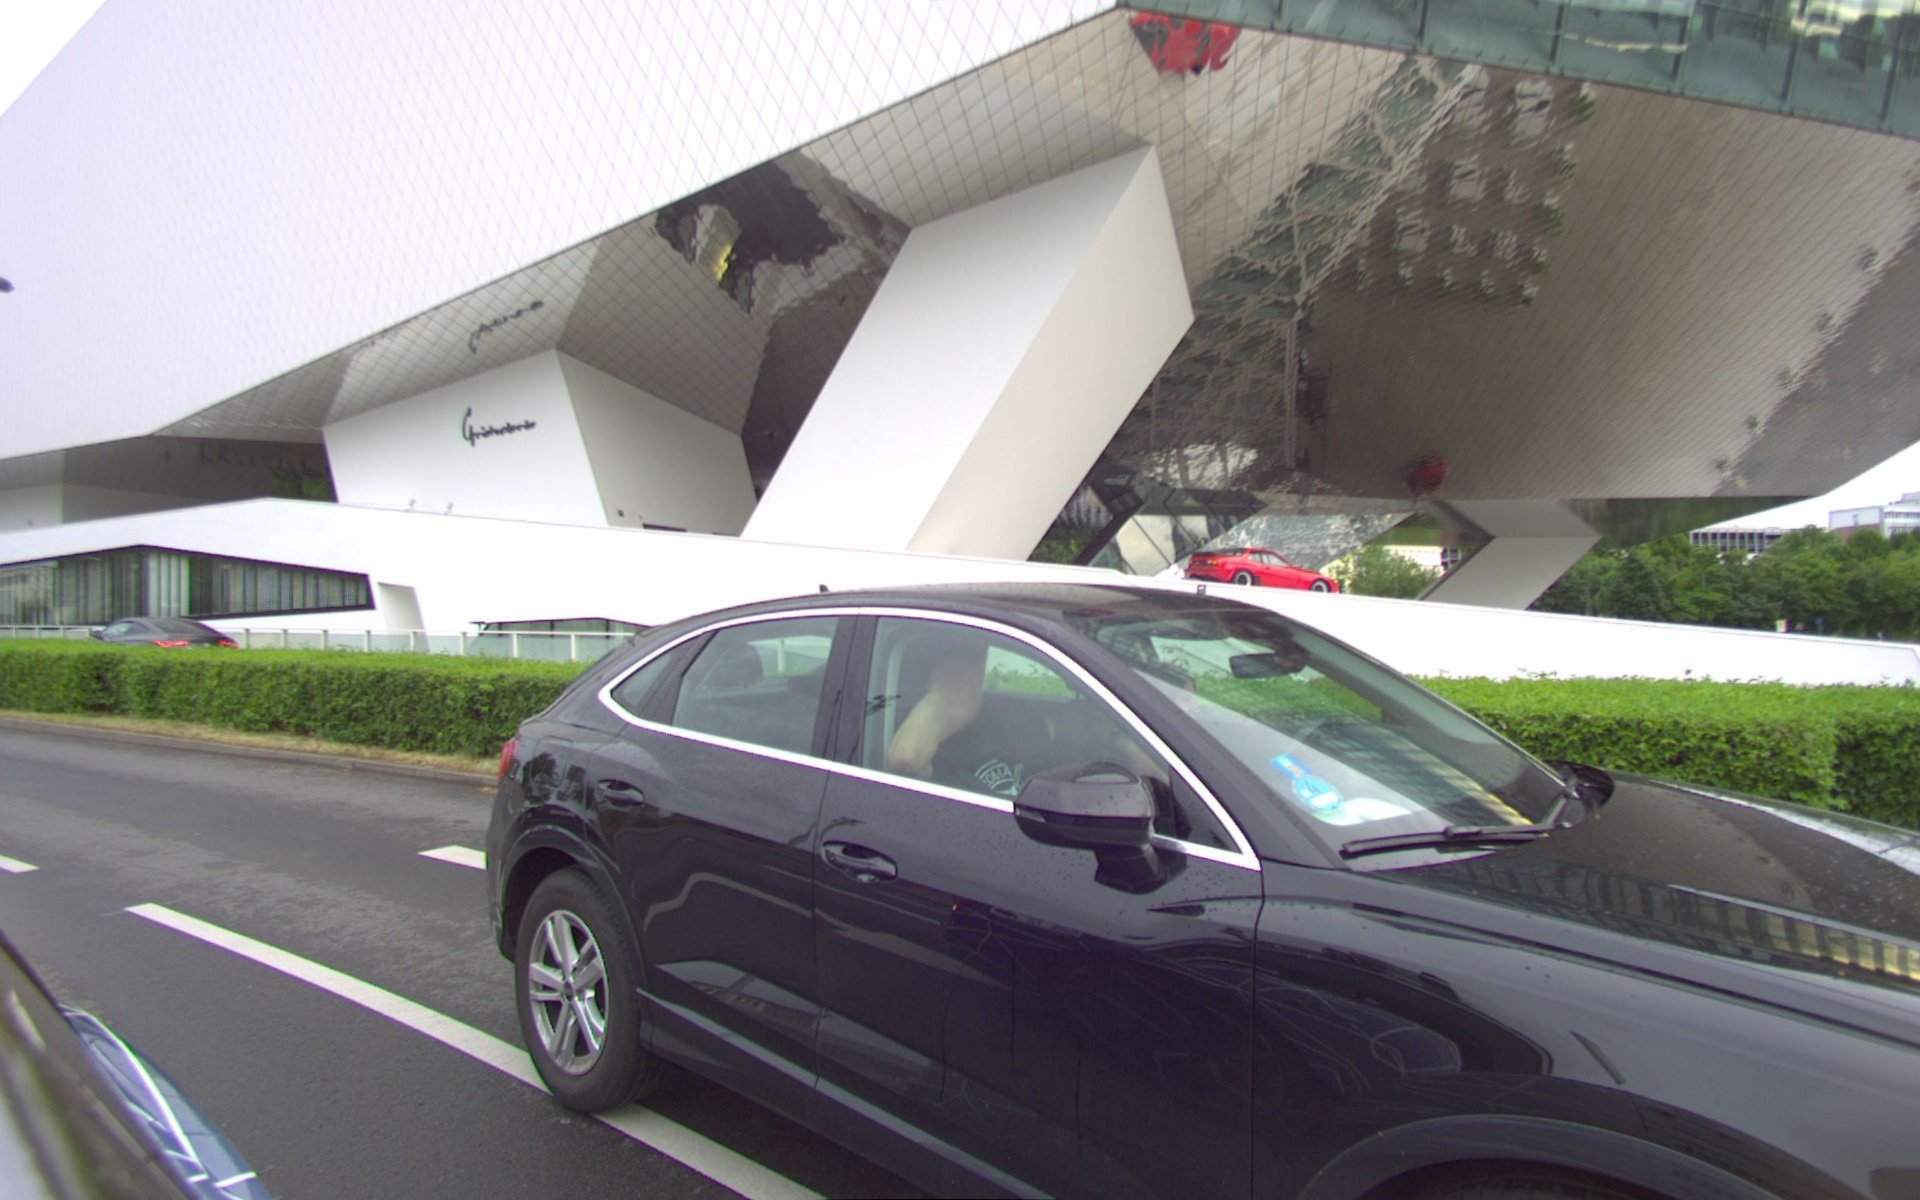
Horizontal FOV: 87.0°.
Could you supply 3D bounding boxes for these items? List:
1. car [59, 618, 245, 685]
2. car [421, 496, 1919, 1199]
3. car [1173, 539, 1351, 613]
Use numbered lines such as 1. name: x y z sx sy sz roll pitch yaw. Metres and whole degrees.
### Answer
1. car: -18.015 1.094 22.550 3.978 1.347 1.710 -1 0 26
2. car: 0.383 0.676 2.679 4.392 1.529 1.734 -1 -1 41
3. car: 8.248 -0.604 27.740 4.175 1.395 2.006 7 -4 -16
